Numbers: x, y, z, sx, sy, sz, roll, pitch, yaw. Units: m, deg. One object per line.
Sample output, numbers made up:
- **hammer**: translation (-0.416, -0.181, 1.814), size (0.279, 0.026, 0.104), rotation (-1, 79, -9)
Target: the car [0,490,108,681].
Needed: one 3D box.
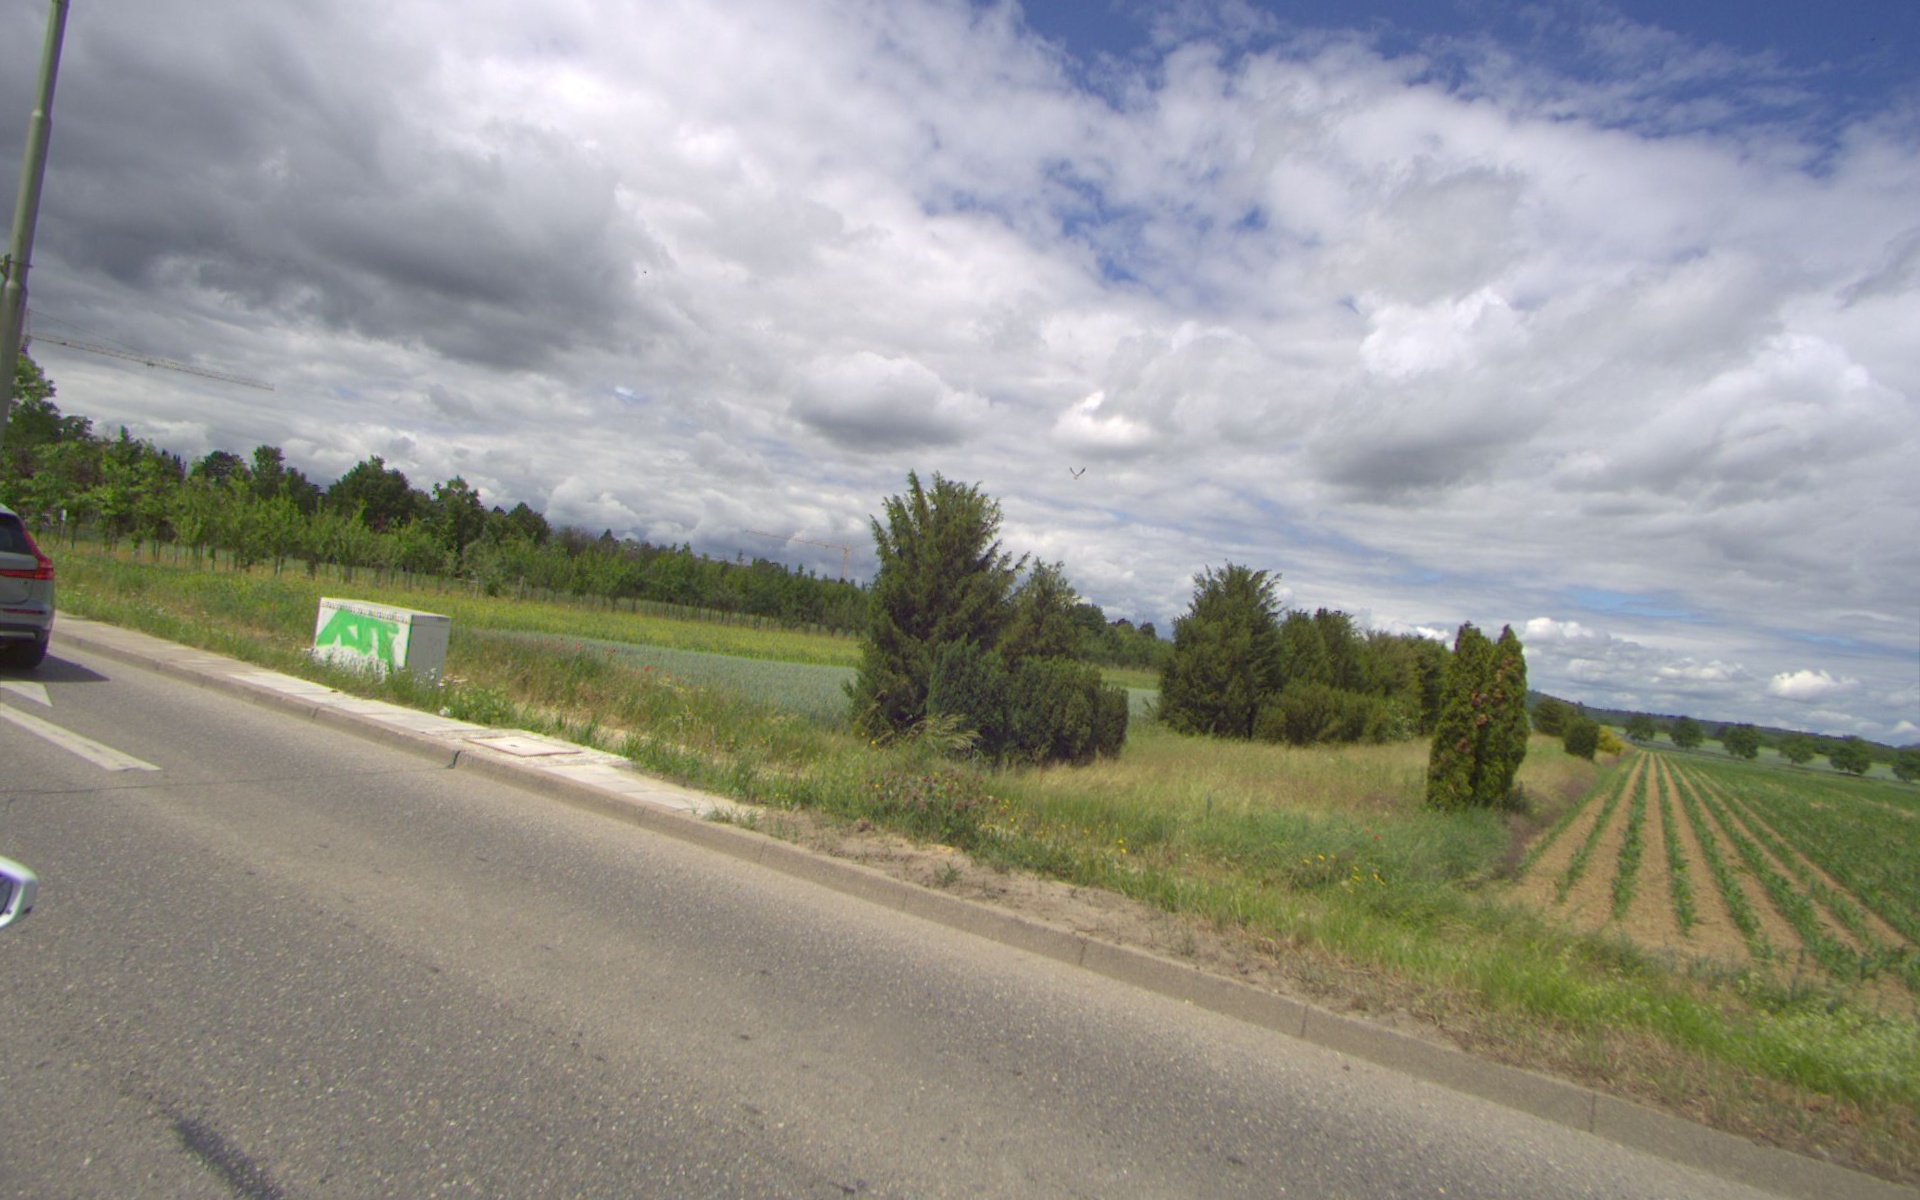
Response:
- **car**: translation (-9.747, -0.318, 8.993), size (4.268, 1.544, 1.960), rotation (6, 0, 32)
